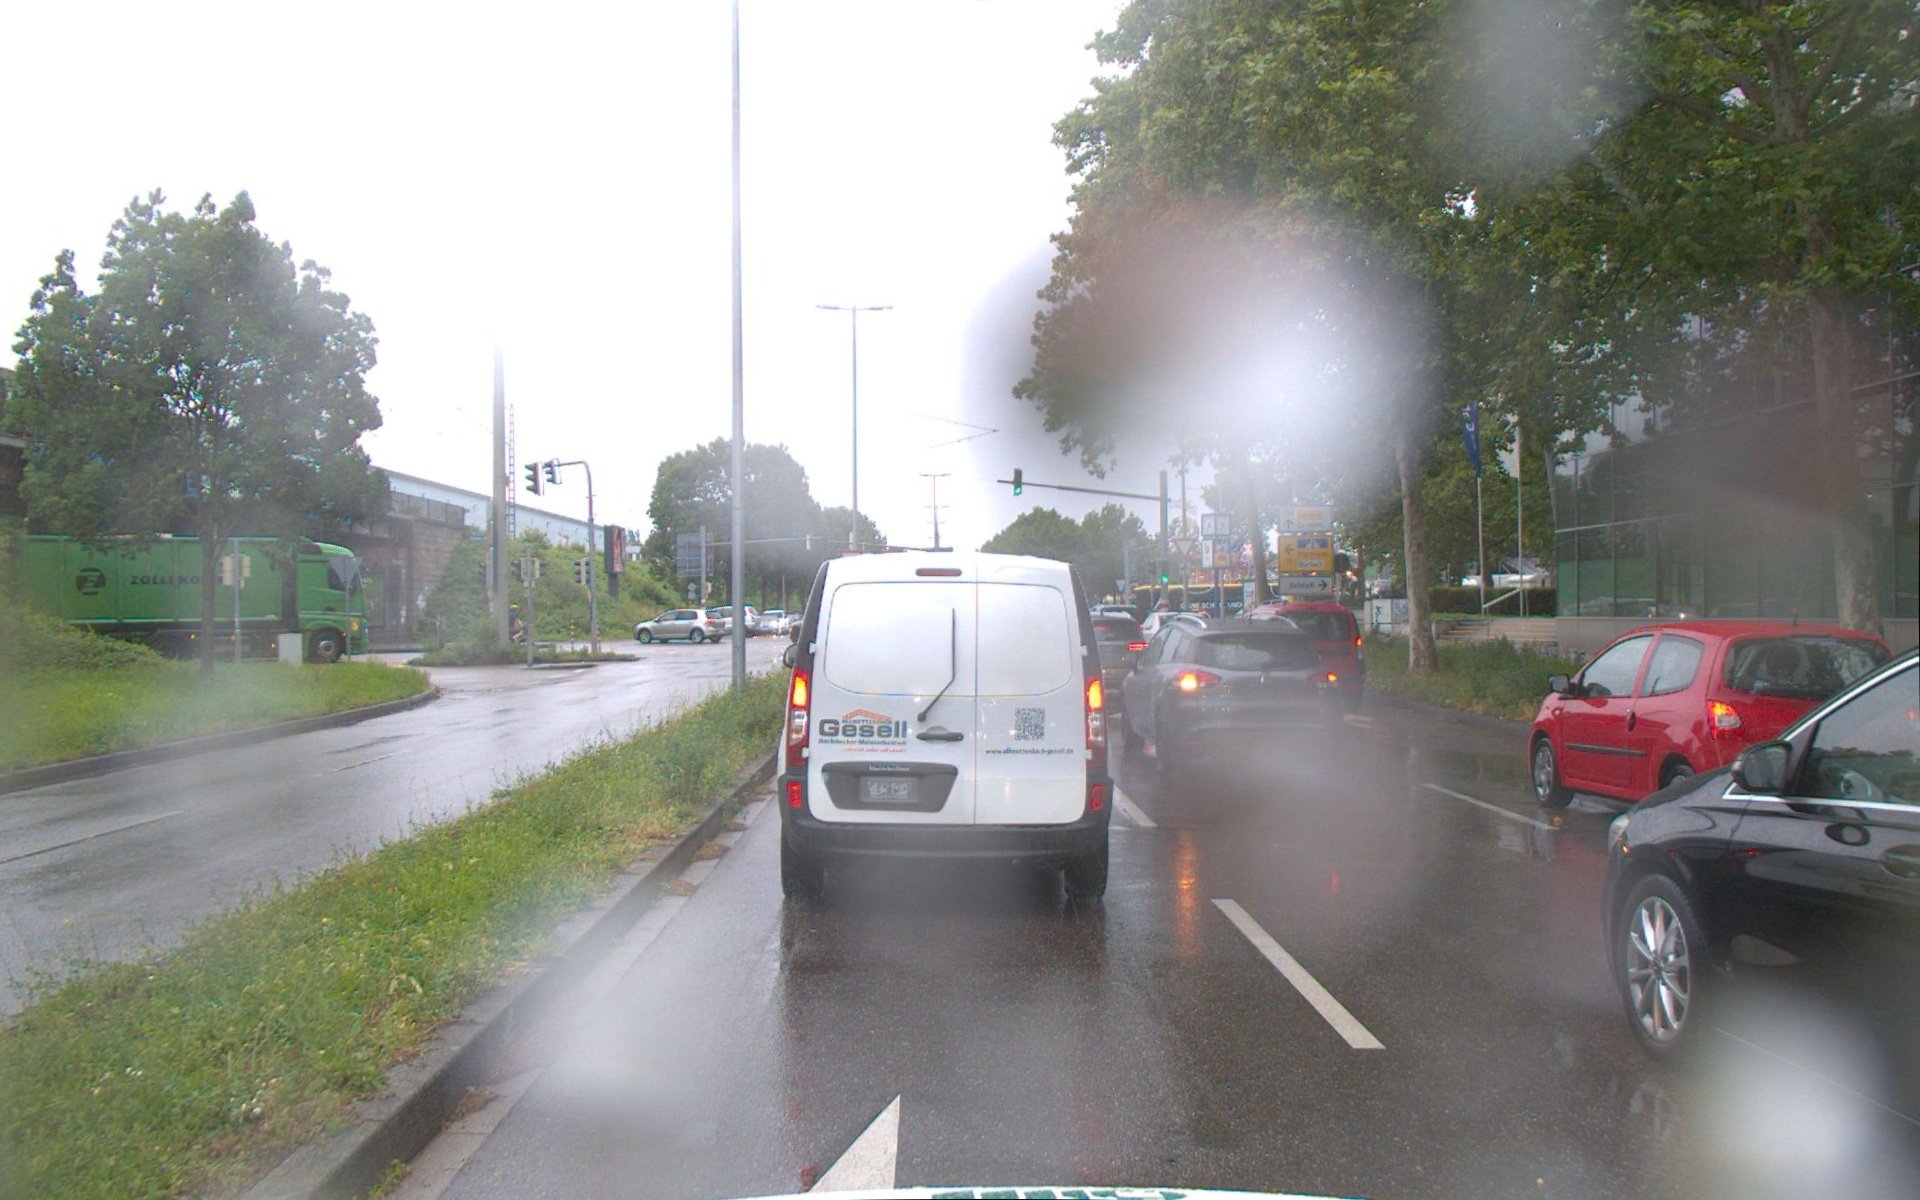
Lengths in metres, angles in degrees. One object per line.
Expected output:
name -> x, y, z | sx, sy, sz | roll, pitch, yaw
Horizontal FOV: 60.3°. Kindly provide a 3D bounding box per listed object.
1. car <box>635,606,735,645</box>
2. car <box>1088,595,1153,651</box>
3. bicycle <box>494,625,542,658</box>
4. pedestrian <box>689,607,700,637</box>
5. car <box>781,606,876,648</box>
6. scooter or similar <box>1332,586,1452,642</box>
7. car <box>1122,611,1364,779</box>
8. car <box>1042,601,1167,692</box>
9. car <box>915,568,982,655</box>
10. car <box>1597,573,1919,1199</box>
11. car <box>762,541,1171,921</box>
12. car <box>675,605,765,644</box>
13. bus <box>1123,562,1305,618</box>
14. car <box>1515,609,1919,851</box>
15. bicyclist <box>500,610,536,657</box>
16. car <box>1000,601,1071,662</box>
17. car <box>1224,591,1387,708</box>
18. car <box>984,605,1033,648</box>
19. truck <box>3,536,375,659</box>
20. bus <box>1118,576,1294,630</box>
car -> -11.883, 1.112, 71.493 | 3.737, 1.570, 1.999 | -2, -1, 23
car -> 5.182, 0.714, 53.788 | 1.673, 1.758, 3.842 | 0, 0, -1
bicycle -> -14.431, 1.332, 53.931 | 1.027, 0.968, 2.866 | -1, 0, -25
pedestrian -> -15.172, 1.256, 94.544 | 0.532, 1.746, 0.563 | 1, -1, -4
car -> -5.465, 1.102, 68.338 | 1.784, 1.680, 4.127 | 1, -1, -42
scooter or similar -> 19.813, 0.625, 75.993 | 1.878, 2.489, 5.239 | 0, 0, -41
car -> 2.688, 0.851, 16.501 | 1.649, 1.433, 3.842 | 1, 0, -2
car -> 2.478, 0.768, 29.098 | 1.816, 1.486, 3.842 | 0, 0, -1
car -> -0.332, 0.304, 46.482 | 1.816, 2.337, 3.842 | 0, 0, -1
car -> 3.282, 0.728, 4.140 | 1.712, 1.582, 4.089 | 0, 0, -2
car -> 0.003, 0.620, 10.184 | 1.953, 1.807, 4.584 | 0, 0, -1
car -> -11.707, 1.200, 80.794 | 3.902, 1.747, 2.002 | -2, -1, 12
bus -> 16.790, -0.647, 109.797 | 11.727, 3.483, 2.315 | -1, 0, -1
car -> 5.433, 0.826, 12.064 | 1.537, 1.488, 3.388 | 1, 0, -2
bicyclist -> -14.395, 1.088, 53.857 | 1.028, 1.475, 0.723 | -1, 0, -25
car -> 2.142, 0.882, 47.592 | 1.816, 1.678, 3.842 | 0, 0, -1
car -> 5.496, 0.774, 26.777 | 1.676, 1.724, 4.271 | 1, -1, -1
car -> 1.916, 1.060, 66.698 | 1.816, 1.678, 3.842 | 0, -1, -1
truck -> -23.051, -0.071, 49.960 | 9.956, 3.430, 2.316 | 0, 0, -37
bus -> 16.888, 0.193, 113.764 | 11.735, 3.483, 2.481 | -1, 0, -4
